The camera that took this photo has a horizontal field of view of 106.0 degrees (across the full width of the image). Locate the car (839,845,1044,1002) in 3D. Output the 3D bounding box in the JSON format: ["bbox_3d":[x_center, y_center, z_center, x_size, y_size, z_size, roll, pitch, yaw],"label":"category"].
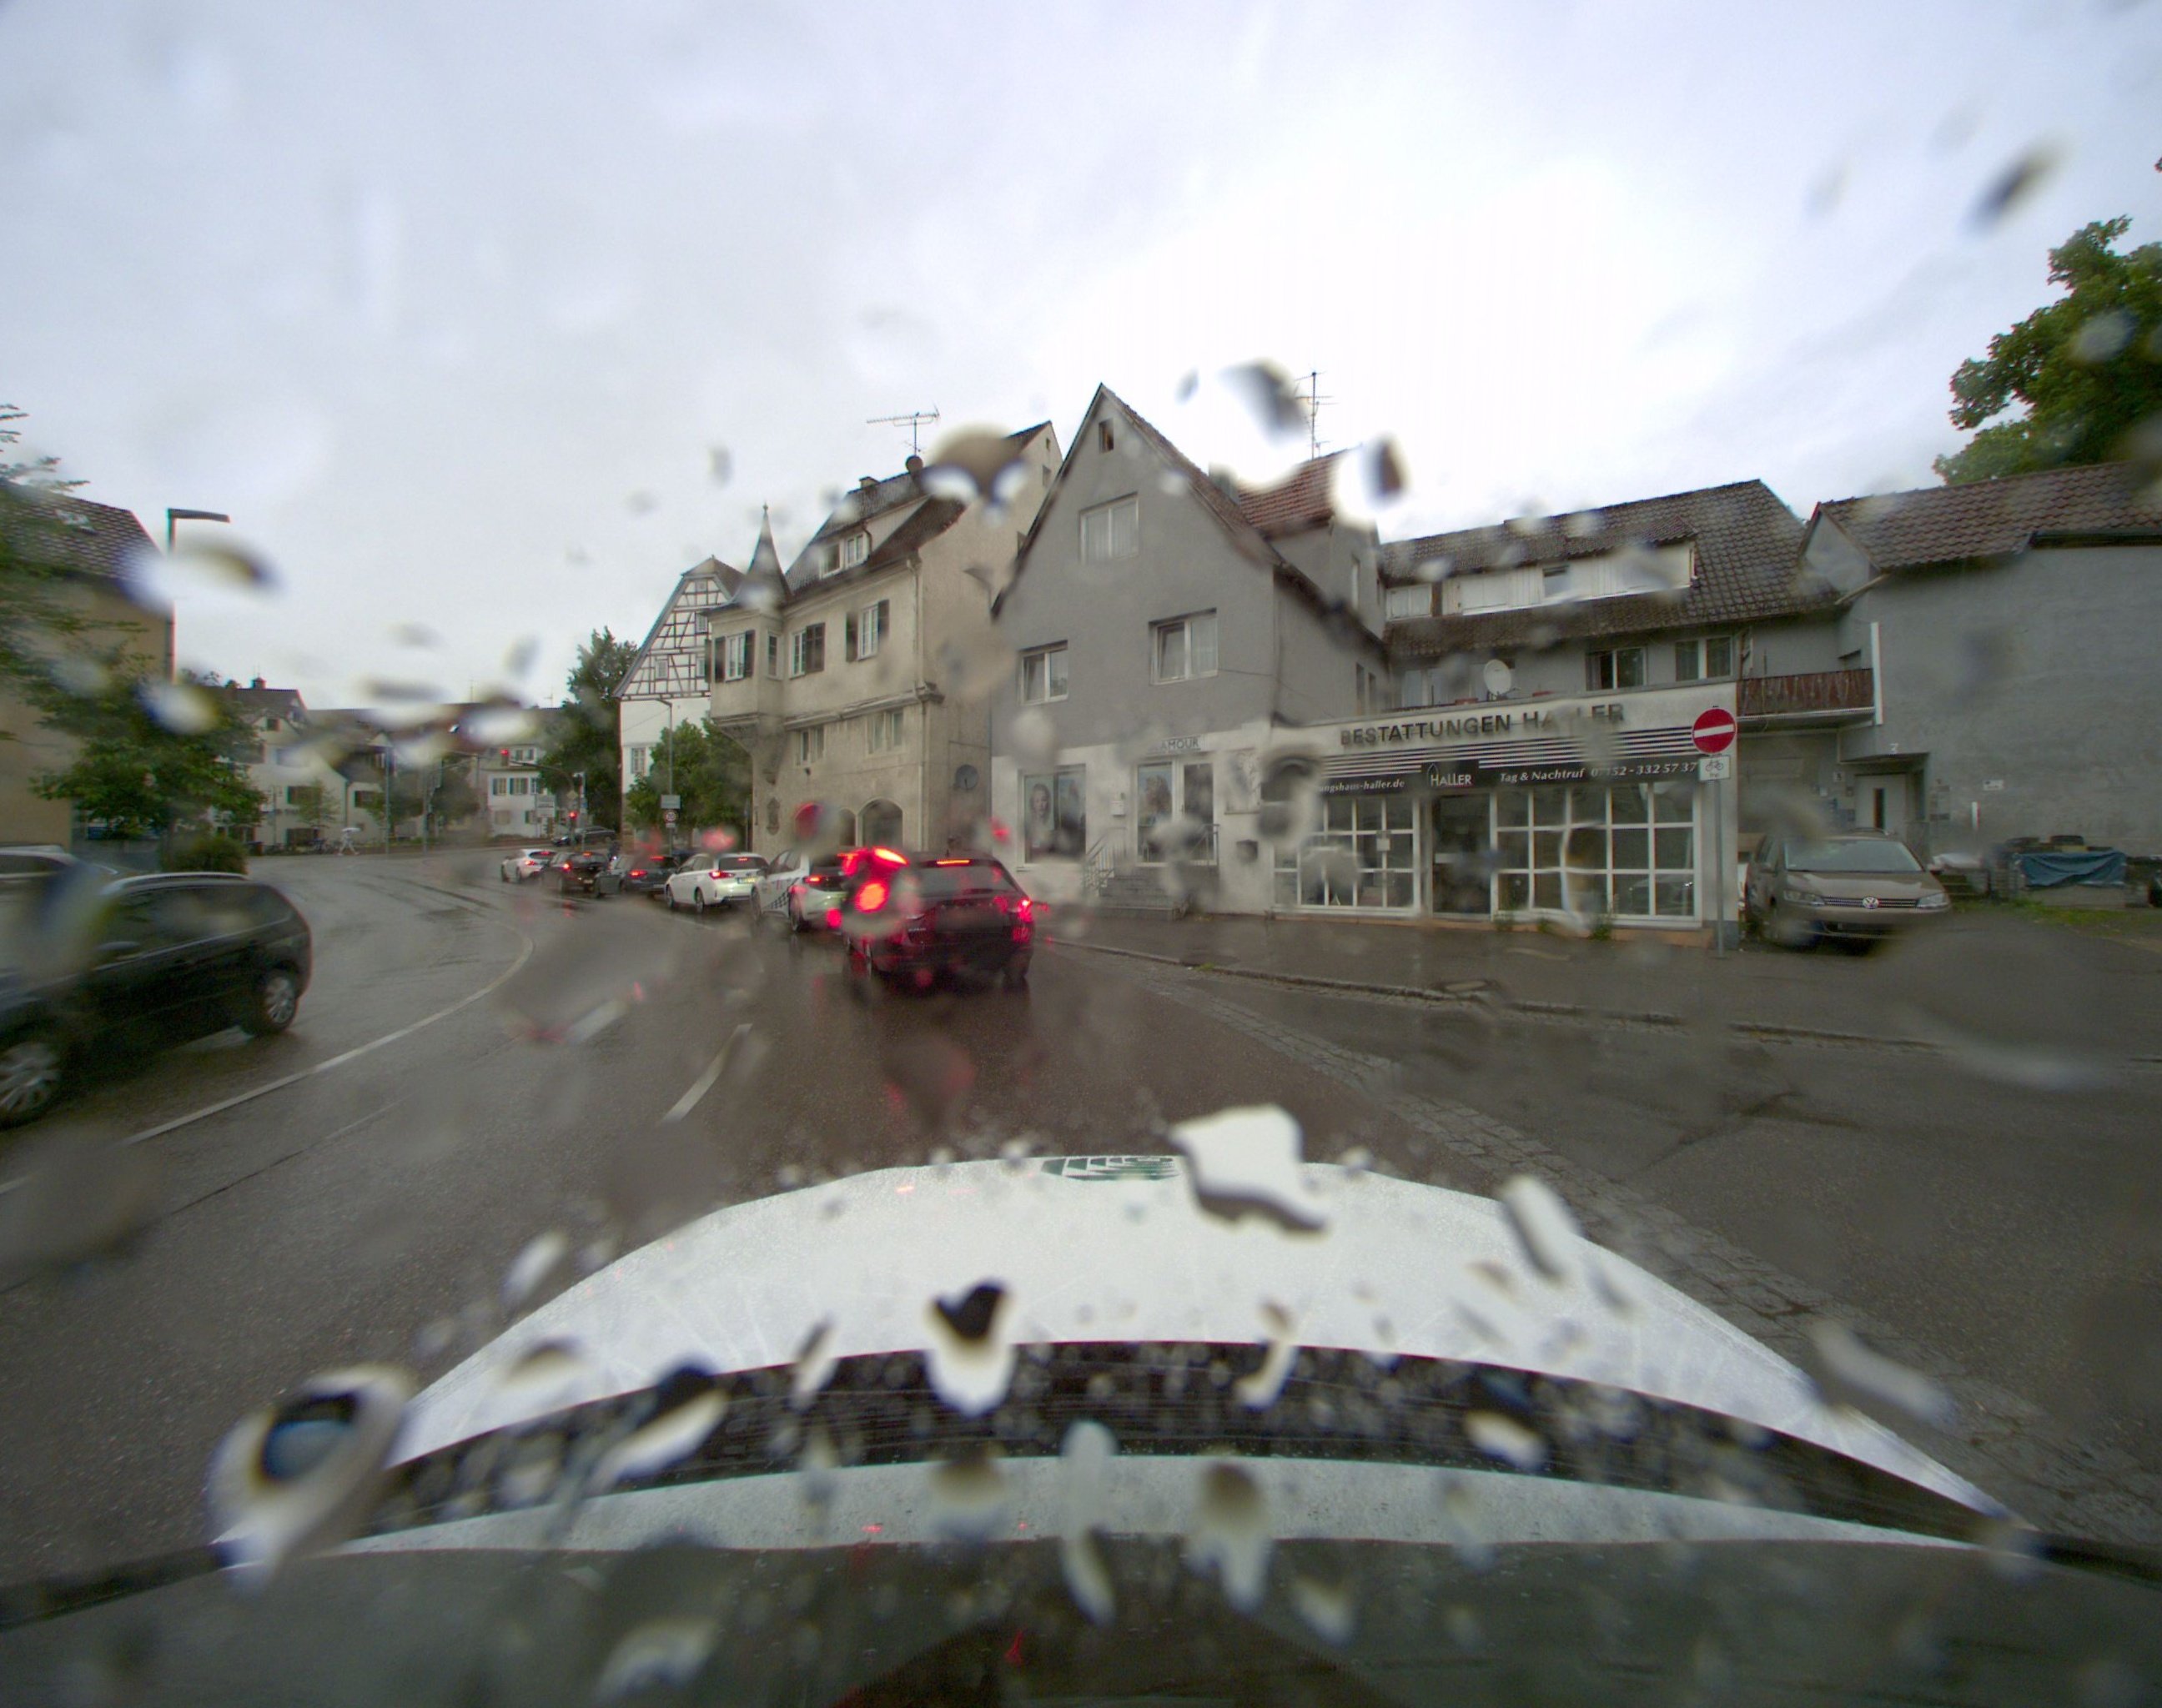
[{"bbox_3d":[-1.945,0.648,10.163,1.738,1.450,4.212,-2,2,-21],"label":"car"}]

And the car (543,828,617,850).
[{"bbox_3d":[-37.537,-1.097,61.136,1.632,1.389,4.555,7,3,23],"label":"car"}]

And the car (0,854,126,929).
[{"bbox_3d":[-22.395,0.769,16.522,1.692,1.455,3.558,0,1,24],"label":"car"}]

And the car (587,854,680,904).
[{"bbox_3d":[-14.147,0.733,25.657,3.721,1.361,1.533,1,2,44],"label":"car"}]

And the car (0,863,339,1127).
[{"bbox_3d":[-7.744,0.873,6.078,1.738,1.510,4.244,-2,1,-20],"label":"car"}]

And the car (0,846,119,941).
[{"bbox_3d":[-20.115,0.716,14.449,1.692,1.685,3.558,0,1,24],"label":"car"}]

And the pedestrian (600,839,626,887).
[{"bbox_3d":[-22.899,0.438,39.803,0.872,2.326,1.216,-1,0,-40],"label":"pedestrian"}]

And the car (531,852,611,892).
[{"bbox_3d":[-18.886,0.628,30.112,3.579,1.312,1.678,1,2,44],"label":"car"}]

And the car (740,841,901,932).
[{"bbox_3d":[-5.291,0.566,16.200,1.803,1.517,4.194,-2,1,-36],"label":"car"}]

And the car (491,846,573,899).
[{"bbox_3d":[-23.529,0.727,34.877,3.911,2.090,1.992,1,2,42],"label":"car"}]

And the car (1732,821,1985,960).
[{"bbox_3d":[11.721,0.385,12.680,1.905,1.727,4.698,-1,2,32],"label":"car"}]

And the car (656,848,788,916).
[{"bbox_3d":[-9.135,0.618,20.567,1.801,1.465,4.114,-3,2,-42],"label":"car"}]

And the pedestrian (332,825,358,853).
[{"bbox_3d":[-47.300,-0.939,52.346,0.992,1.742,1.156,-1,0,42],"label":"pedestrian"}]

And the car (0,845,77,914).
[{"bbox_3d":[-26.200,0.613,18.727,1.692,1.576,3.558,0,1,24],"label":"car"}]
